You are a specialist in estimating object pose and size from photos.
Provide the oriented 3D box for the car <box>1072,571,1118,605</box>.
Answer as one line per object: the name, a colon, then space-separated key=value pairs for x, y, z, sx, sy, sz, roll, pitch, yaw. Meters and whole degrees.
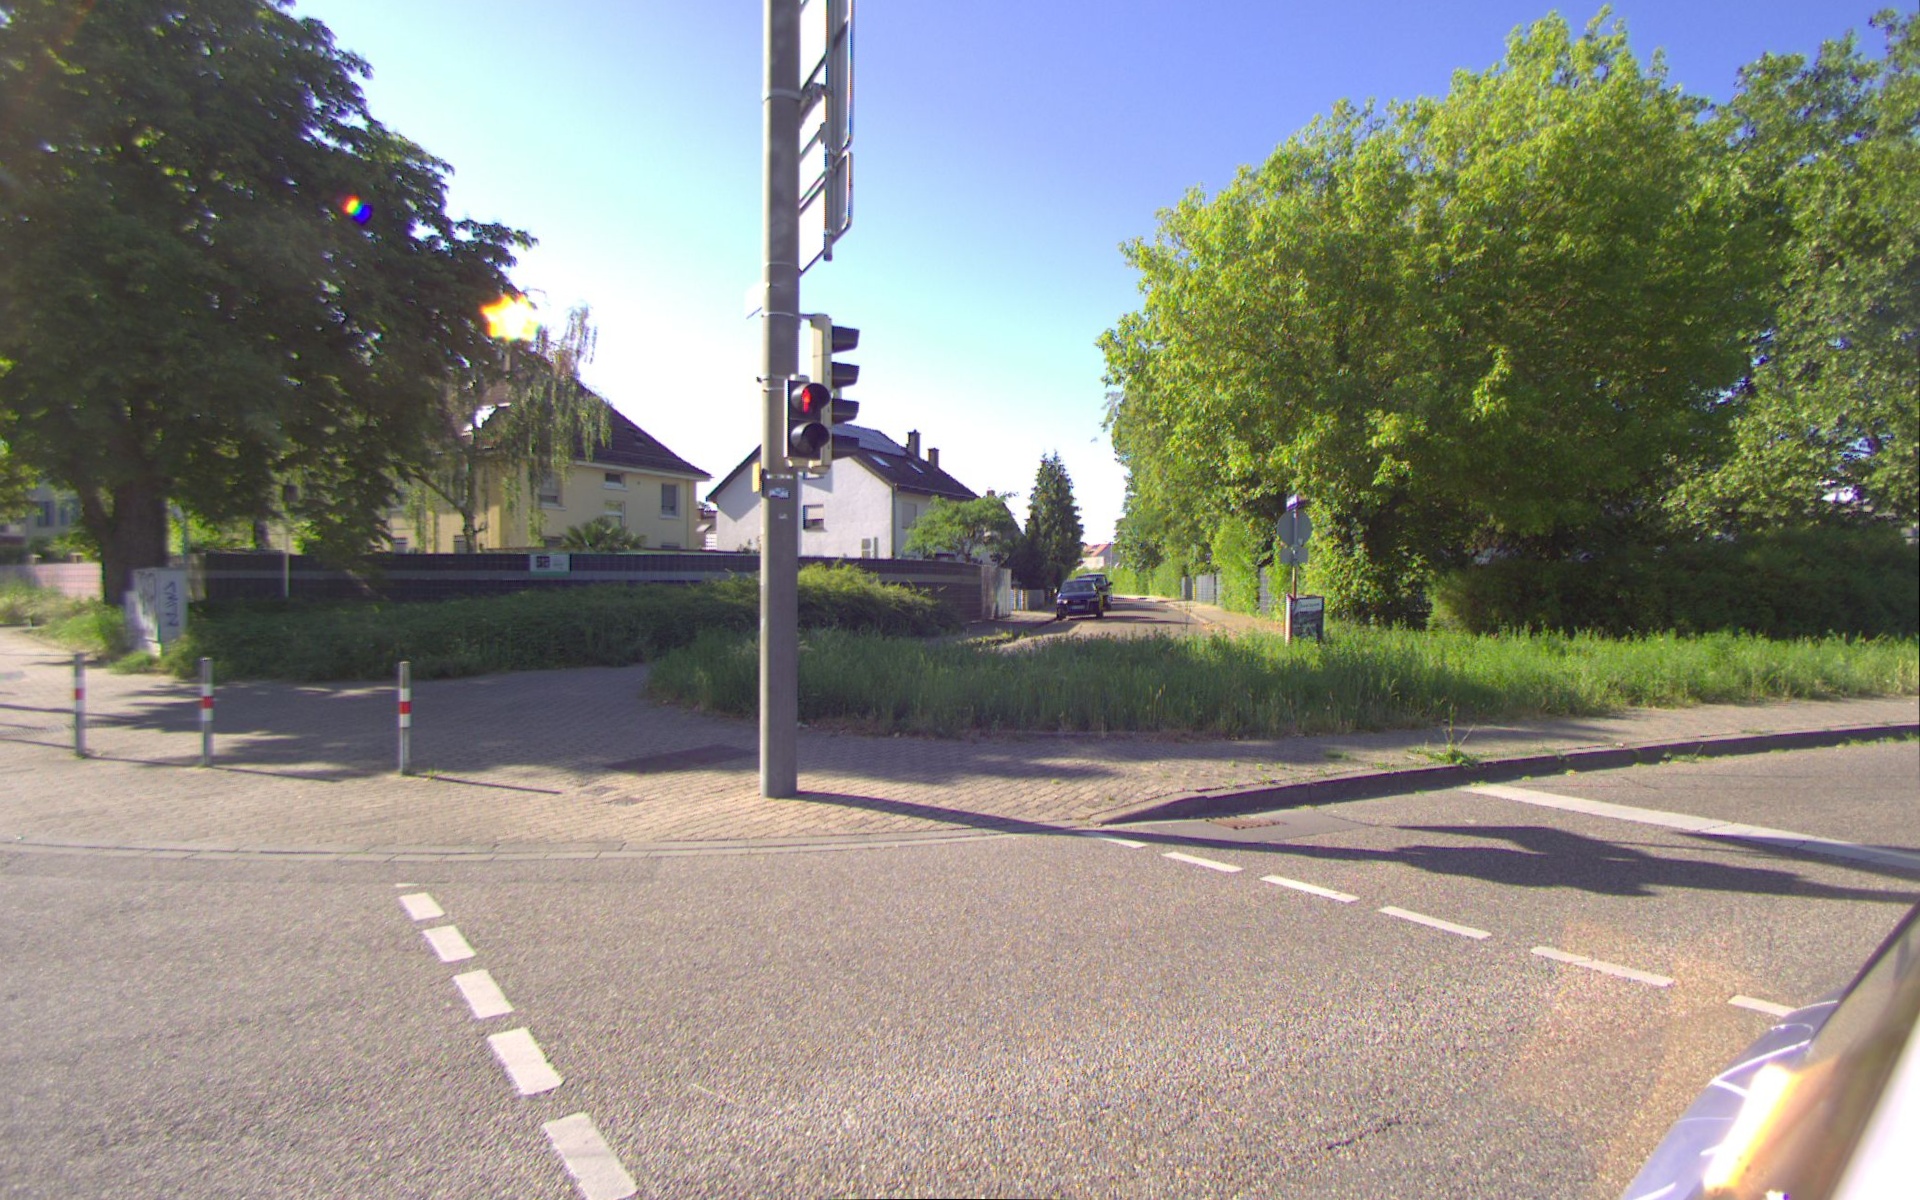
car: x=6.956 y=-0.631 z=51.934 sx=1.935 sy=1.687 sz=3.983 roll=0 pitch=1 yaw=14

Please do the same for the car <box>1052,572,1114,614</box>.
car: x=4.930 y=-0.298 z=40.258 sx=1.971 sy=1.576 sz=3.983 roll=-1 pitch=1 yaw=14
